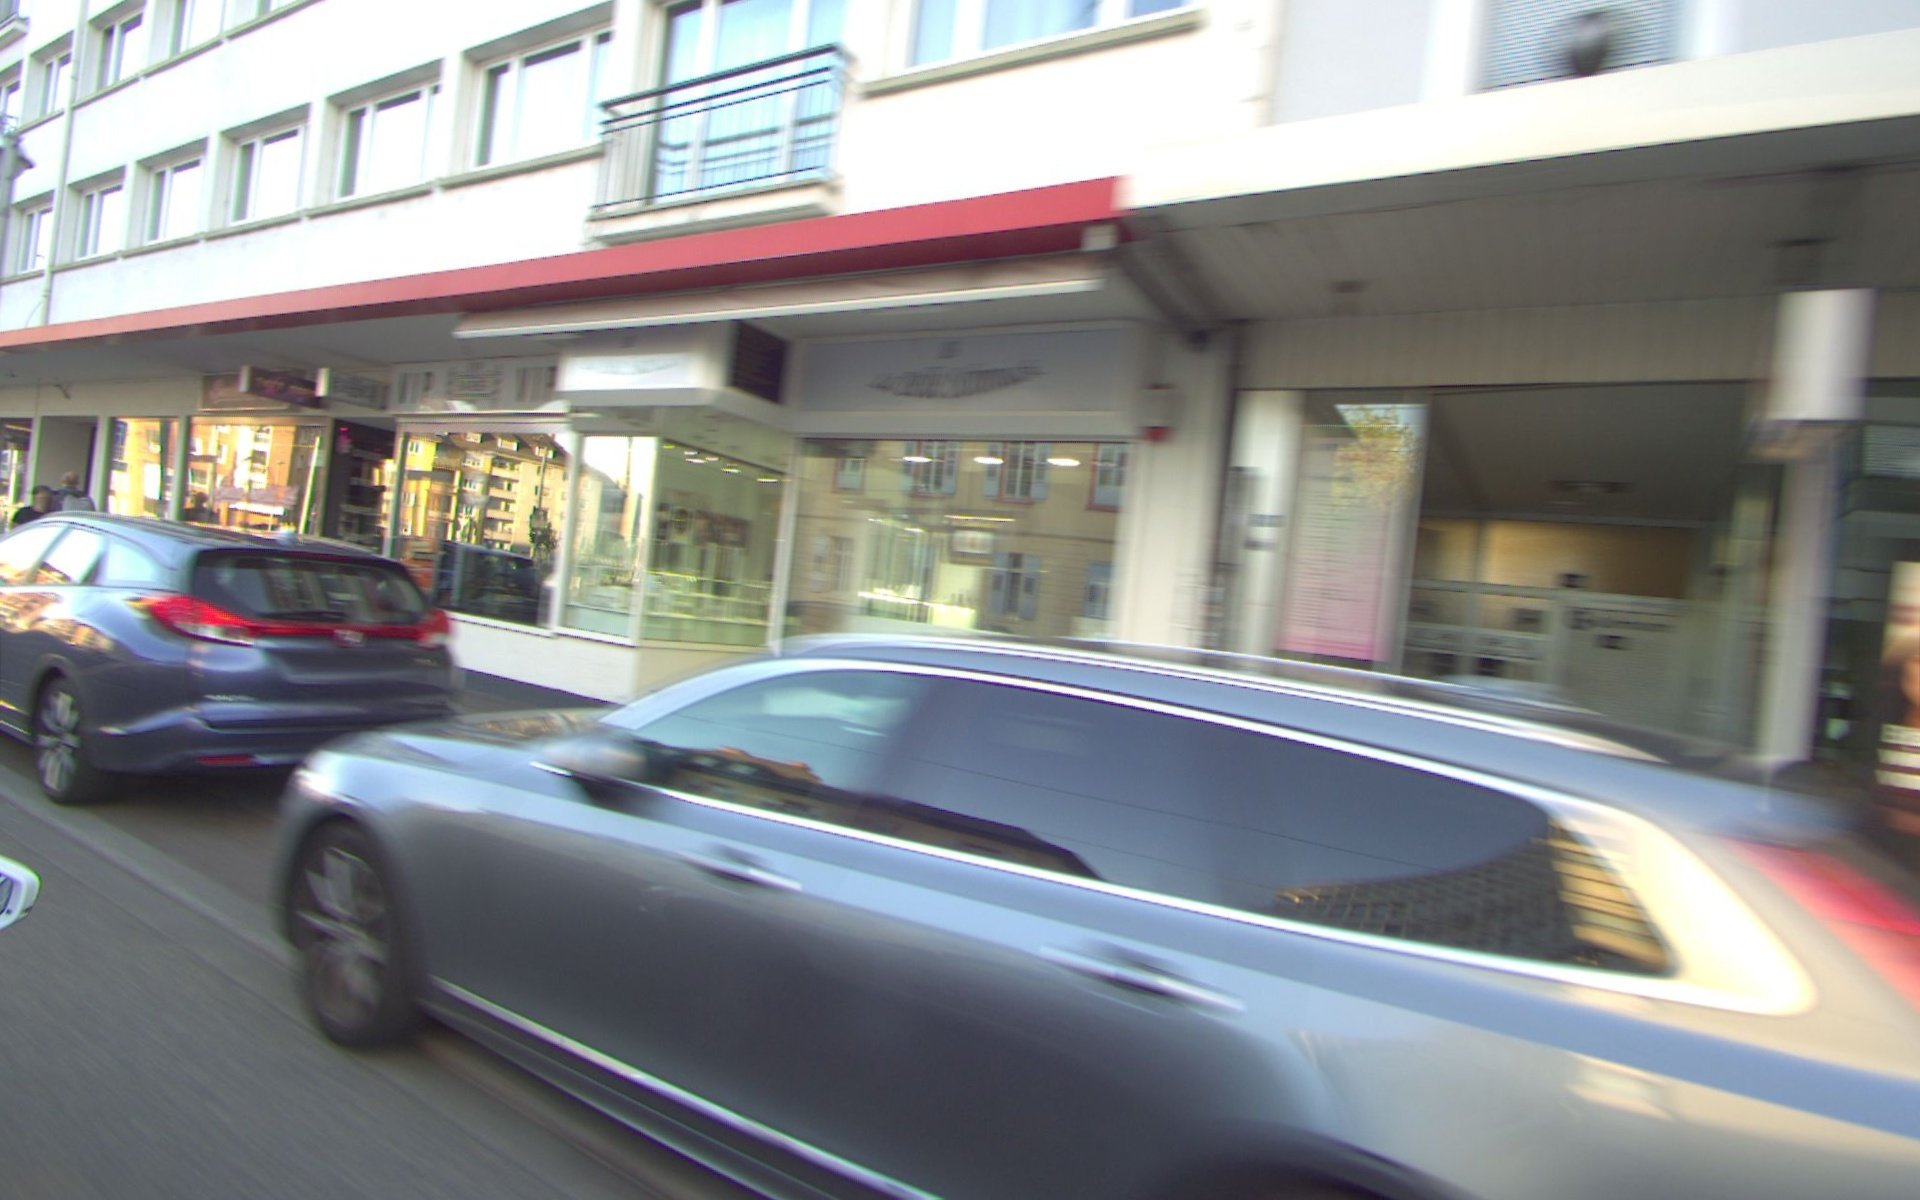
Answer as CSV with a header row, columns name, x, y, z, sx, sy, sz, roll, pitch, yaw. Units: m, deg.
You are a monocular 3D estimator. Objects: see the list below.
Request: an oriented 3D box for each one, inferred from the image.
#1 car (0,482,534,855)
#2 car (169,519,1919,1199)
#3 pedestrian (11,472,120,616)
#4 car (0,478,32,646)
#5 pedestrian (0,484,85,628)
name,x,y,z,sx,sy,sz,roll,pitch,yaw
car,-4.846,0.223,6.236,4.285,1.539,1.785,7,-2,32
car,-0.093,0.801,2.955,4.776,1.550,1.796,6,-3,31
pedestrian,-12.649,-0.786,14.227,0.919,1.903,0.775,6,0,30
car,-12.130,-0.664,10.847,4.345,1.720,1.860,6,-3,31
pedestrian,-11.118,-0.530,11.938,0.950,1.593,0.734,7,0,31
